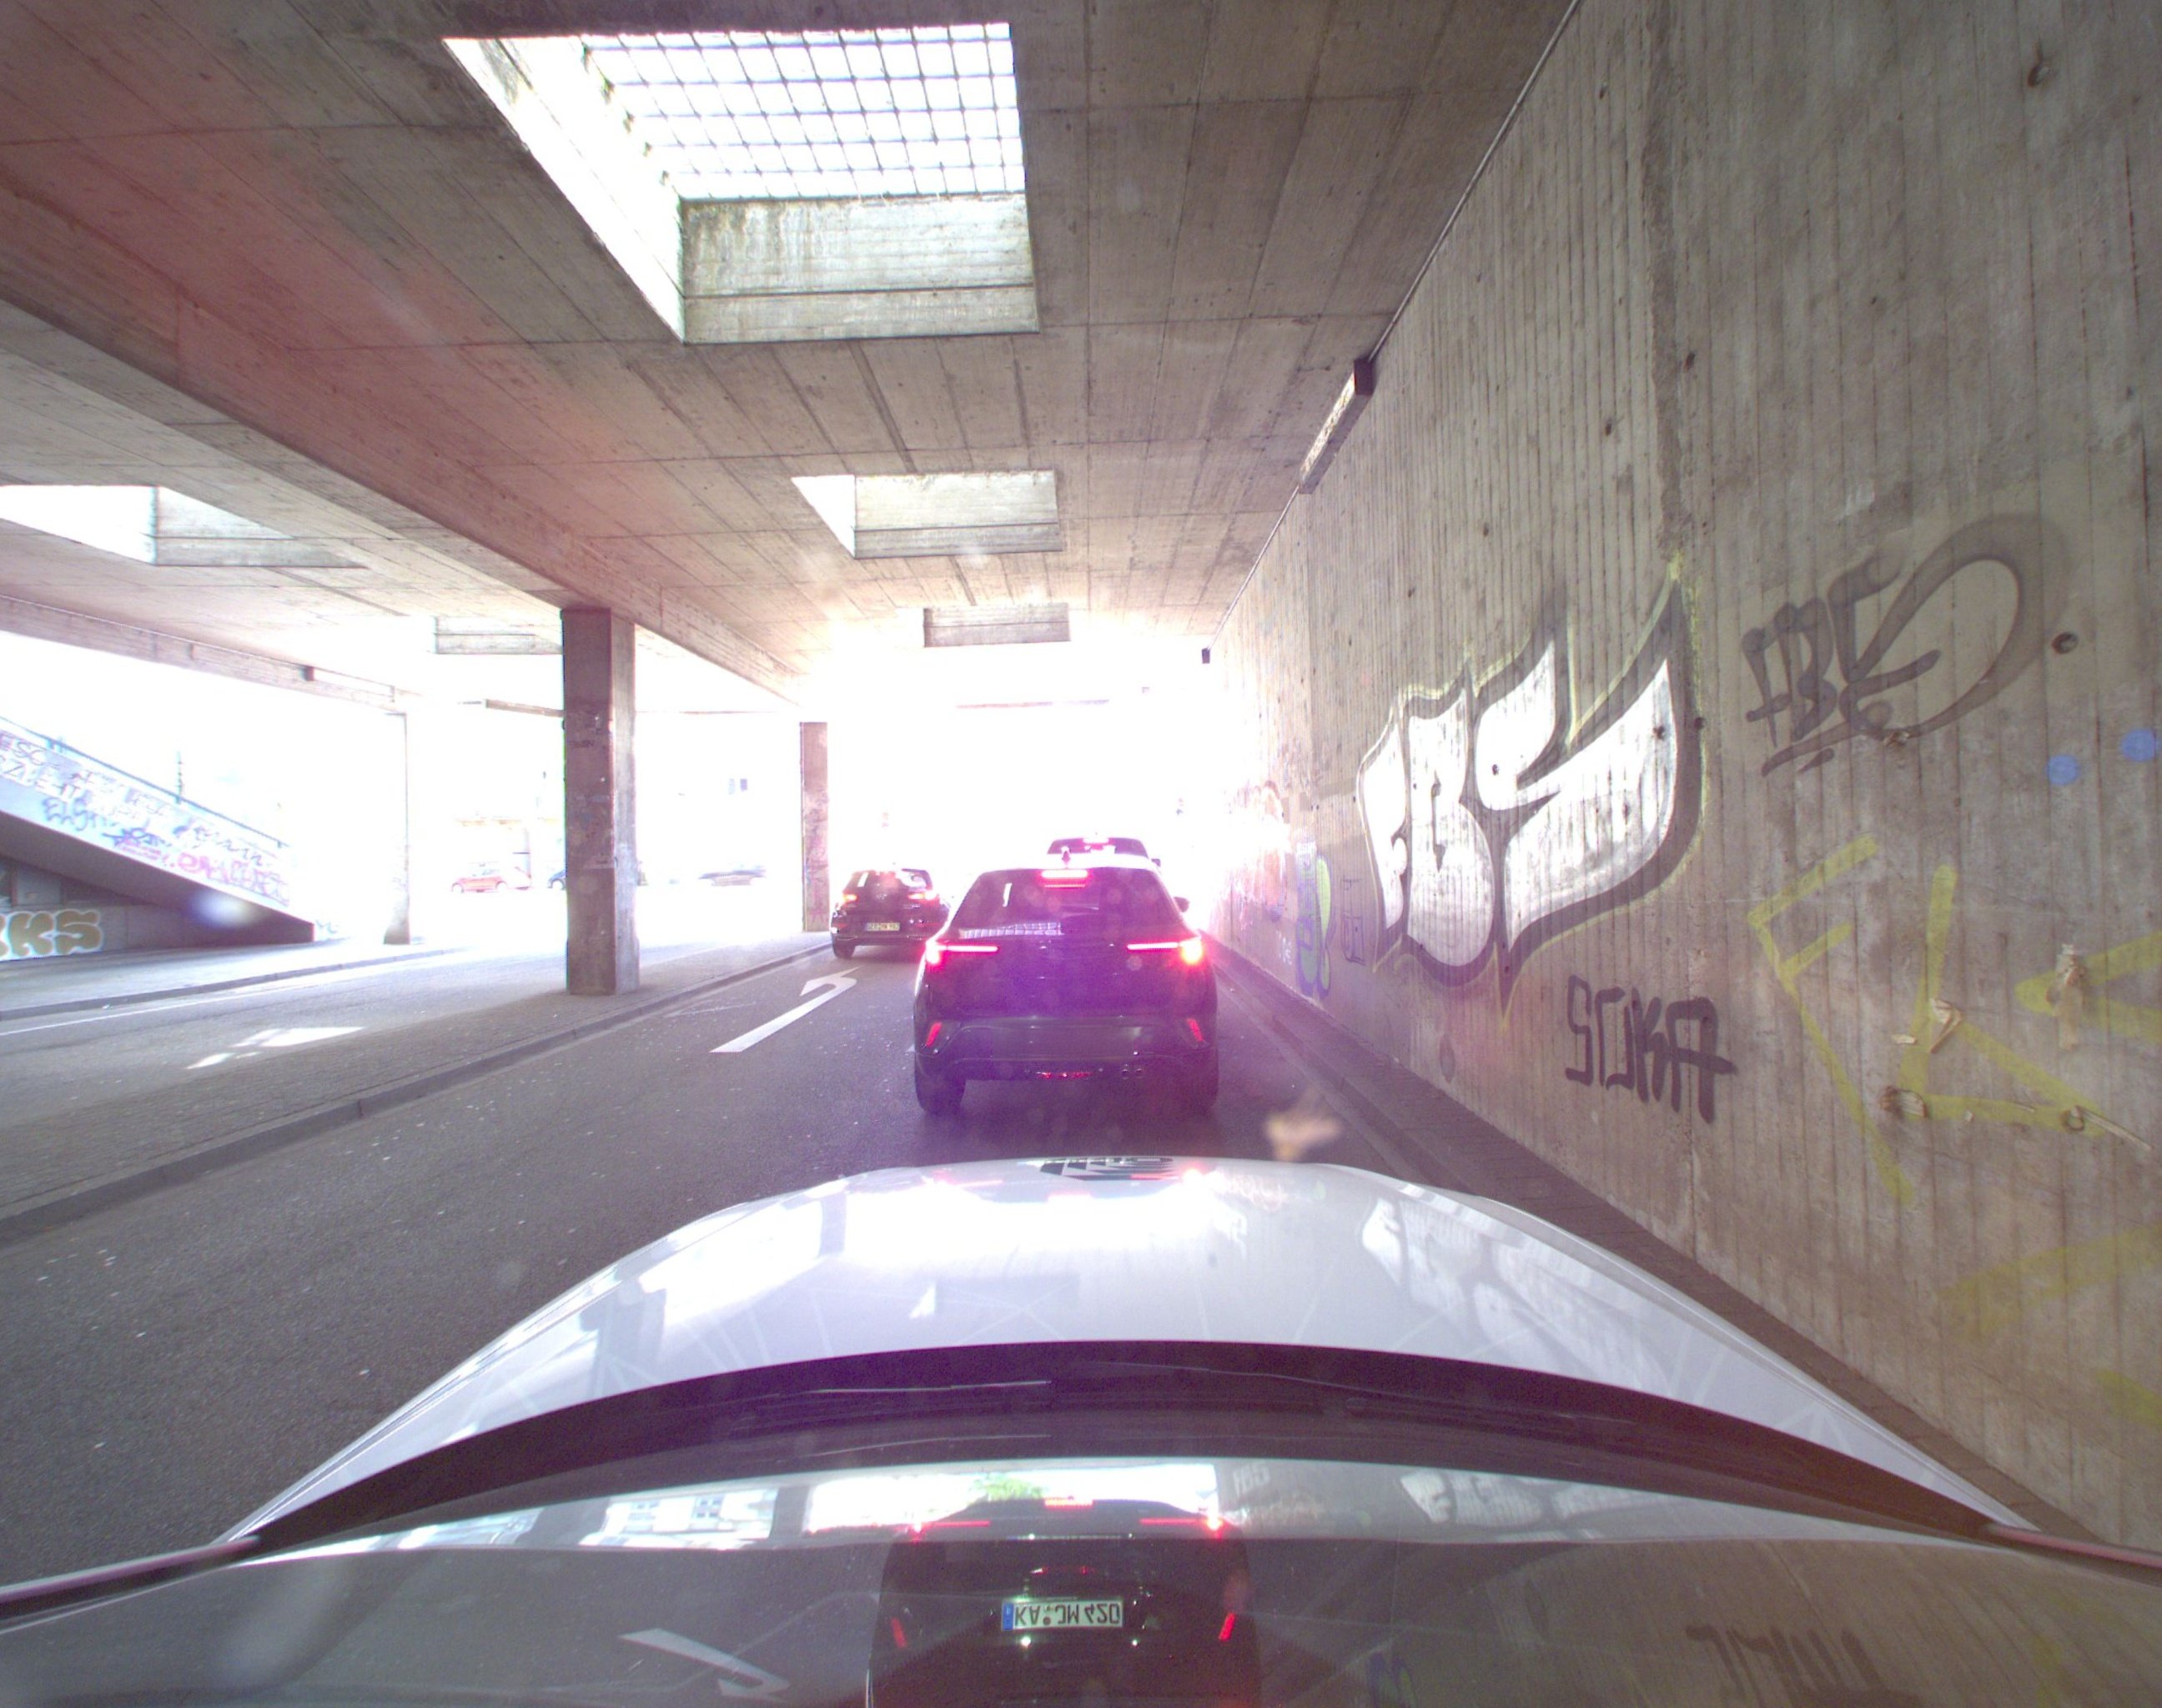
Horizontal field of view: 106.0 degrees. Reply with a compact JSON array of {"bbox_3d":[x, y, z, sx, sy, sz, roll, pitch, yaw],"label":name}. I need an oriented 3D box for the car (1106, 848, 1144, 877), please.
[{"bbox_3d":[2.414,0.501,44.325,1.959,1.497,3.900,-2,-2,4],"label":"car"}]

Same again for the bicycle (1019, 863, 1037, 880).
[{"bbox_3d":[-3.382,1.103,51.803,0.727,1.067,1.694,-1,-1,11],"label":"bicycle"}]

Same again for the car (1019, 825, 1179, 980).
[{"bbox_3d":[0.286,0.596,12.067,1.938,1.860,3.966,-2,0,2],"label":"car"}]

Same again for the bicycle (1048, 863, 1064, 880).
[{"bbox_3d":[-1.592,1.094,52.299,0.621,1.067,1.694,-1,-1,11],"label":"bicycle"}]

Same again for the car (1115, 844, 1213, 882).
[{"bbox_3d":[3.691,0.383,35.864,3.956,1.552,2.009,-1,0,16],"label":"car"}]

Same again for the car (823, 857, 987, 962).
[{"bbox_3d":[-2.737,0.797,13.615,1.773,1.447,4.178,0,0,1],"label":"car"}]

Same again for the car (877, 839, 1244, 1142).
[{"bbox_3d":[-0.048,0.714,6.246,1.875,1.538,3.966,-2,0,2],"label":"car"}]

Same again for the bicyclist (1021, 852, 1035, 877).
[{"bbox_3d":[-3.372,0.646,51.838,0.724,1.581,0.817,-1,-1,11],"label":"bicyclist"}]

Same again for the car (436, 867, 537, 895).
[{"bbox_3d":[-33.006,1.475,45.303,3.970,1.374,2.192,-2,0,3],"label":"car"}]

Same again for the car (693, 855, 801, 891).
[{"bbox_3d":[-15.980,0.892,39.119,4.362,1.552,1.886,-1,0,6],"label":"car"}]

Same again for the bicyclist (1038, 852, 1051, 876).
[{"bbox_3d":[-2.438,0.663,54.696,0.724,1.581,0.817,-1,-1,11],"label":"bicyclist"}]

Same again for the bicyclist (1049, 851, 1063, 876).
[{"bbox_3d":[-1.604,0.636,52.288,0.724,1.581,0.817,-1,-1,11],"label":"bicyclist"}]

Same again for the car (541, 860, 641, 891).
[{"bbox_3d":[-27.202,1.184,45.302,4.114,1.550,2.268,-2,0,1],"label":"car"}]

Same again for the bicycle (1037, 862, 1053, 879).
[{"bbox_3d":[-2.417,1.107,54.809,0.621,1.067,1.694,-1,-1,11],"label":"bicycle"}]
